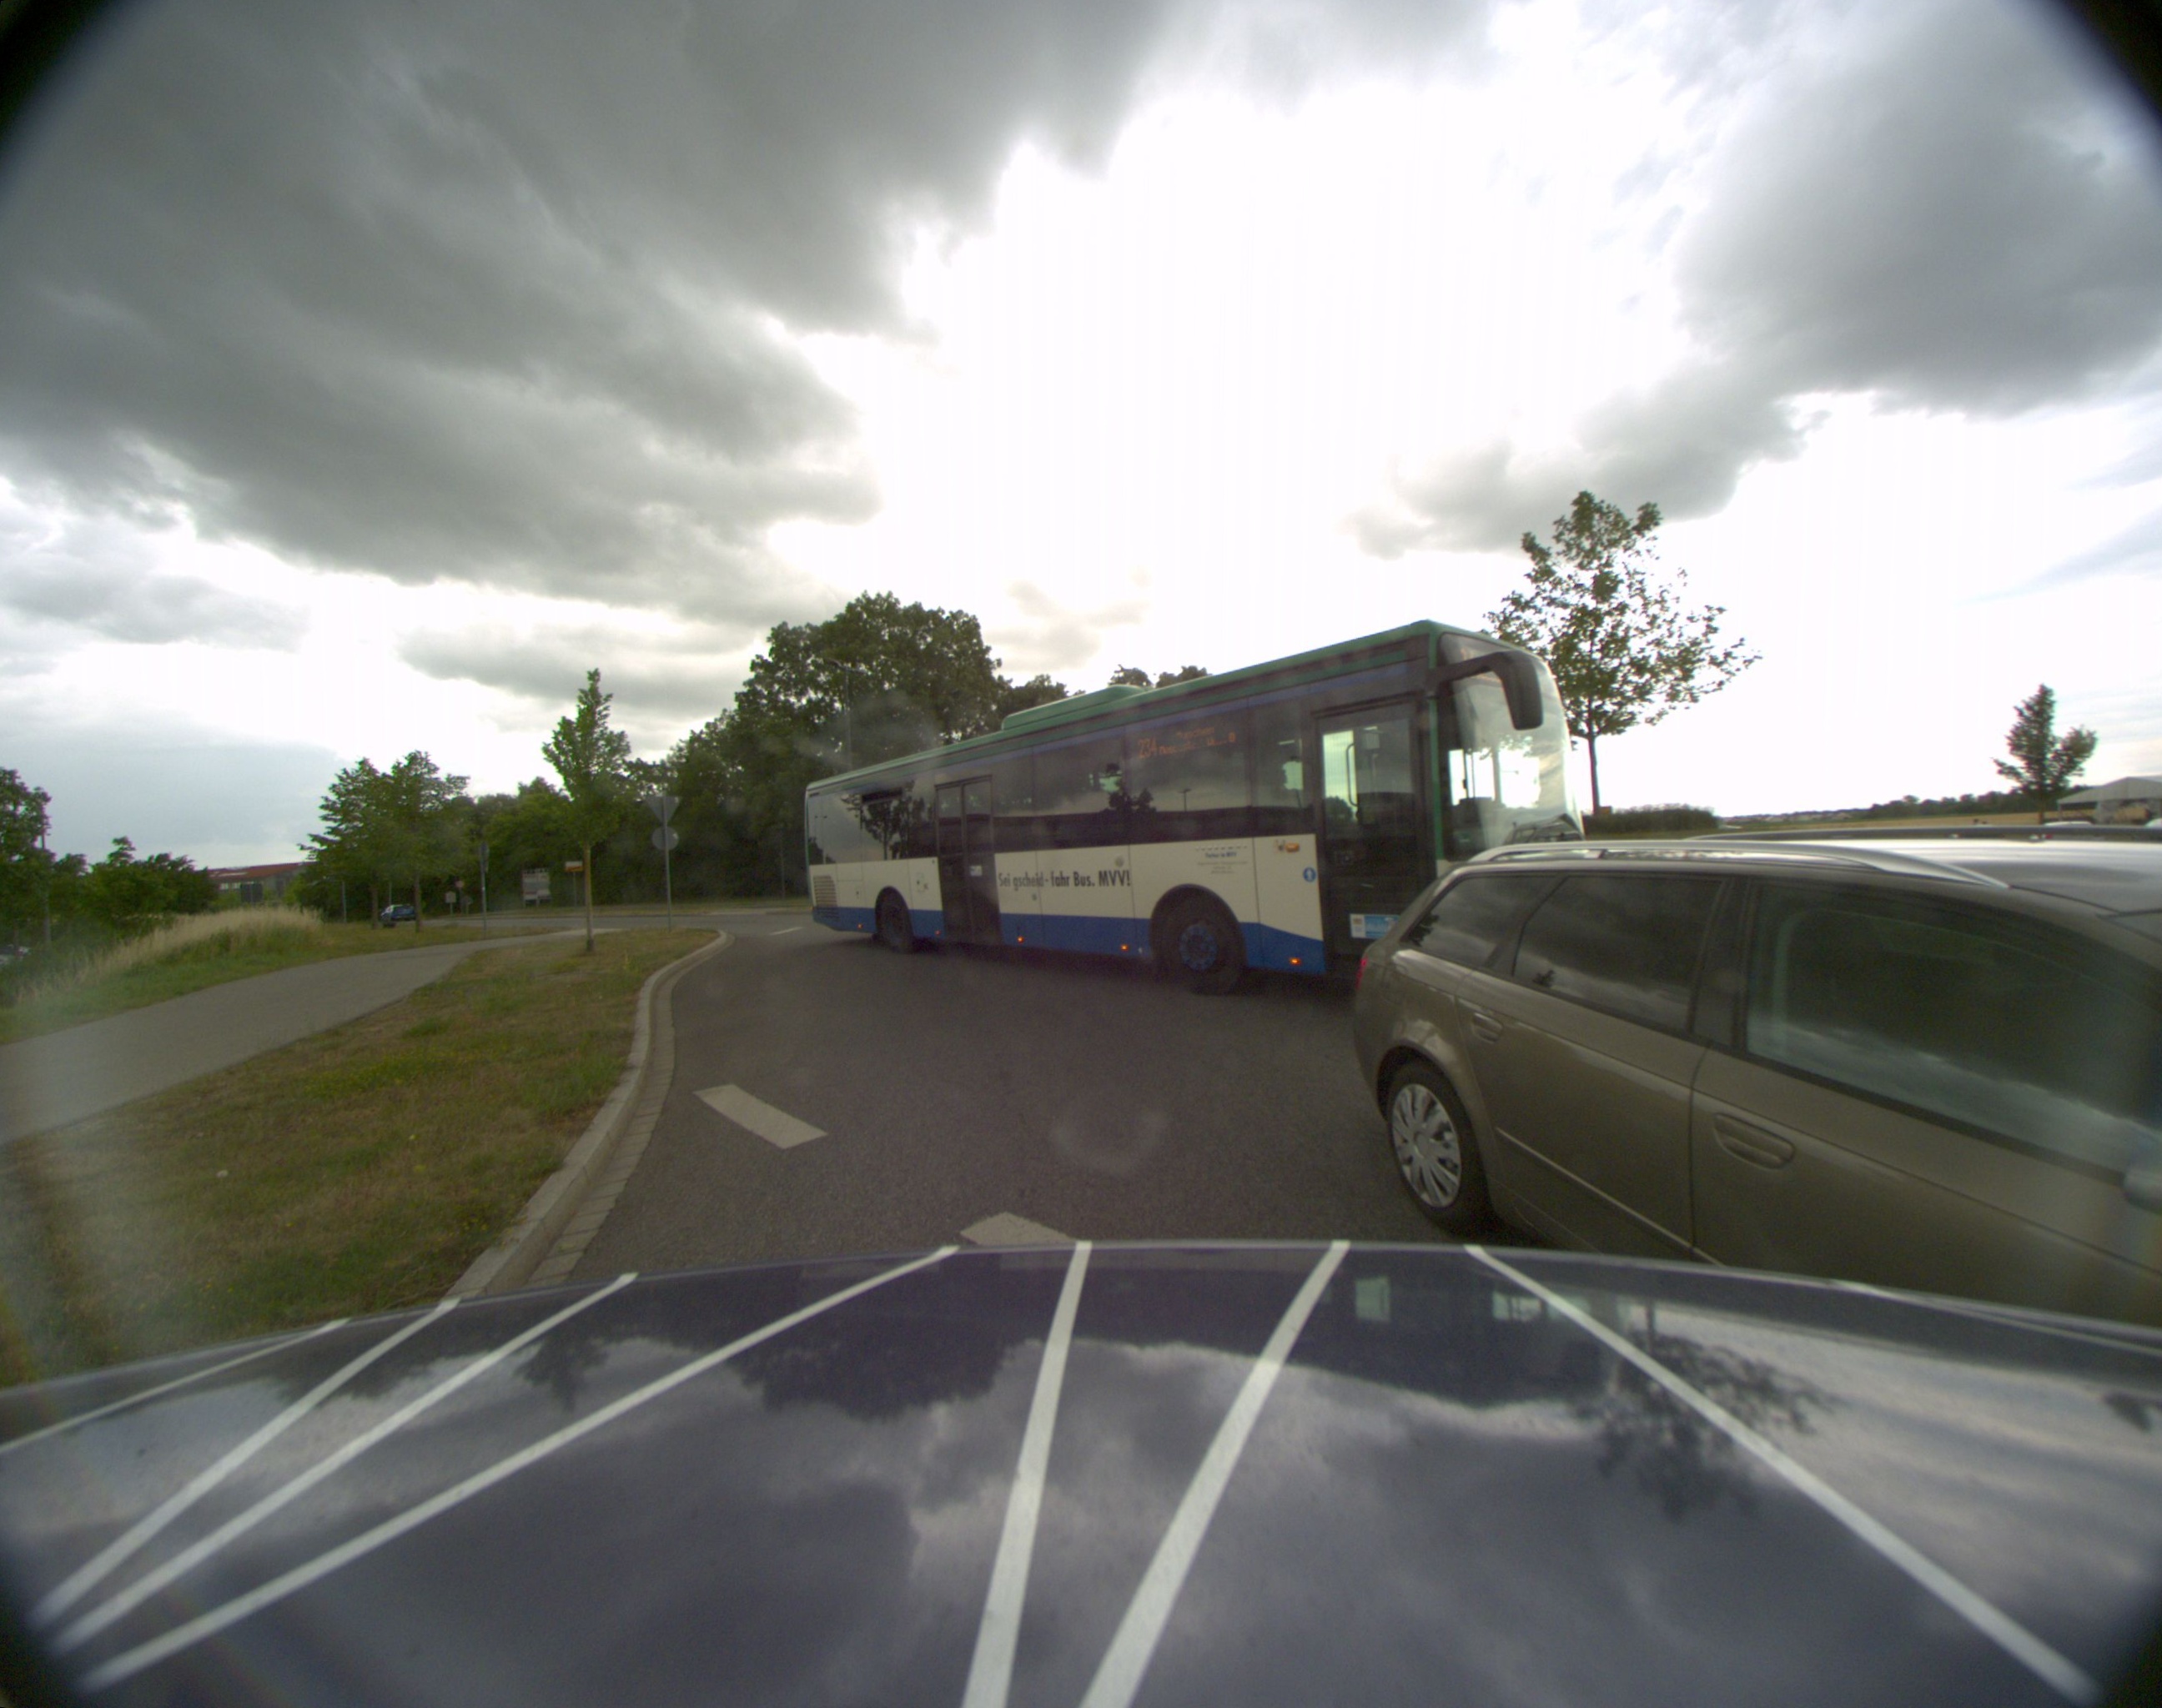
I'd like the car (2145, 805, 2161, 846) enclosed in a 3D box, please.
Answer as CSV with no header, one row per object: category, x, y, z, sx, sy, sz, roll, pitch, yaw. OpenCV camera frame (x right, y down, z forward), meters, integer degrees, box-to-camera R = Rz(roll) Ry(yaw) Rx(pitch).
car,47.081,-1.315,32.502,4.006,1.544,1.712,-5,0,-36

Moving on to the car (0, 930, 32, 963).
car,-53.257,4.572,35.999,1.879,1.435,4.007,-3,0,34

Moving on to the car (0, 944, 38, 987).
car,-41.891,4.294,27.910,3.896,1.455,1.693,-3,0,-42

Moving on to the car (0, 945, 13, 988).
car,-39.739,4.072,25.668,3.896,1.455,1.693,-3,0,-42

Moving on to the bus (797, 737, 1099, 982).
bus,-2.510,0.074,12.936,2.530,3.239,5.446,-3,1,-41

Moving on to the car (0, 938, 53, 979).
car,-44.230,4.317,30.051,3.896,1.455,1.693,-3,0,-42

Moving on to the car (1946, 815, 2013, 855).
car,43.316,-0.926,36.614,4.006,1.544,1.712,-5,0,-36

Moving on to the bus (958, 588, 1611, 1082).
bus,1.522,-0.133,8.284,2.530,3.239,6.530,-3,2,-41

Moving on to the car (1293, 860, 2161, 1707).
car,2.246,0.796,1.587,1.783,1.456,4.538,-3,0,-7

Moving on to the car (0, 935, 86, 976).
car,-46.706,4.519,33.010,3.896,1.455,1.693,-3,0,-42

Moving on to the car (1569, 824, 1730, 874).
car,21.104,-0.144,28.385,1.717,1.616,4.440,-3,0,-36

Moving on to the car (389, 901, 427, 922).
car,-57.925,4.963,65.363,4.072,1.422,1.766,-6,0,40

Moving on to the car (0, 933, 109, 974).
car,-49.366,4.737,35.918,3.896,1.455,1.693,-3,0,-42

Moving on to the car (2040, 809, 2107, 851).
car,45.201,-1.120,34.586,4.006,1.544,1.712,-5,0,-36
